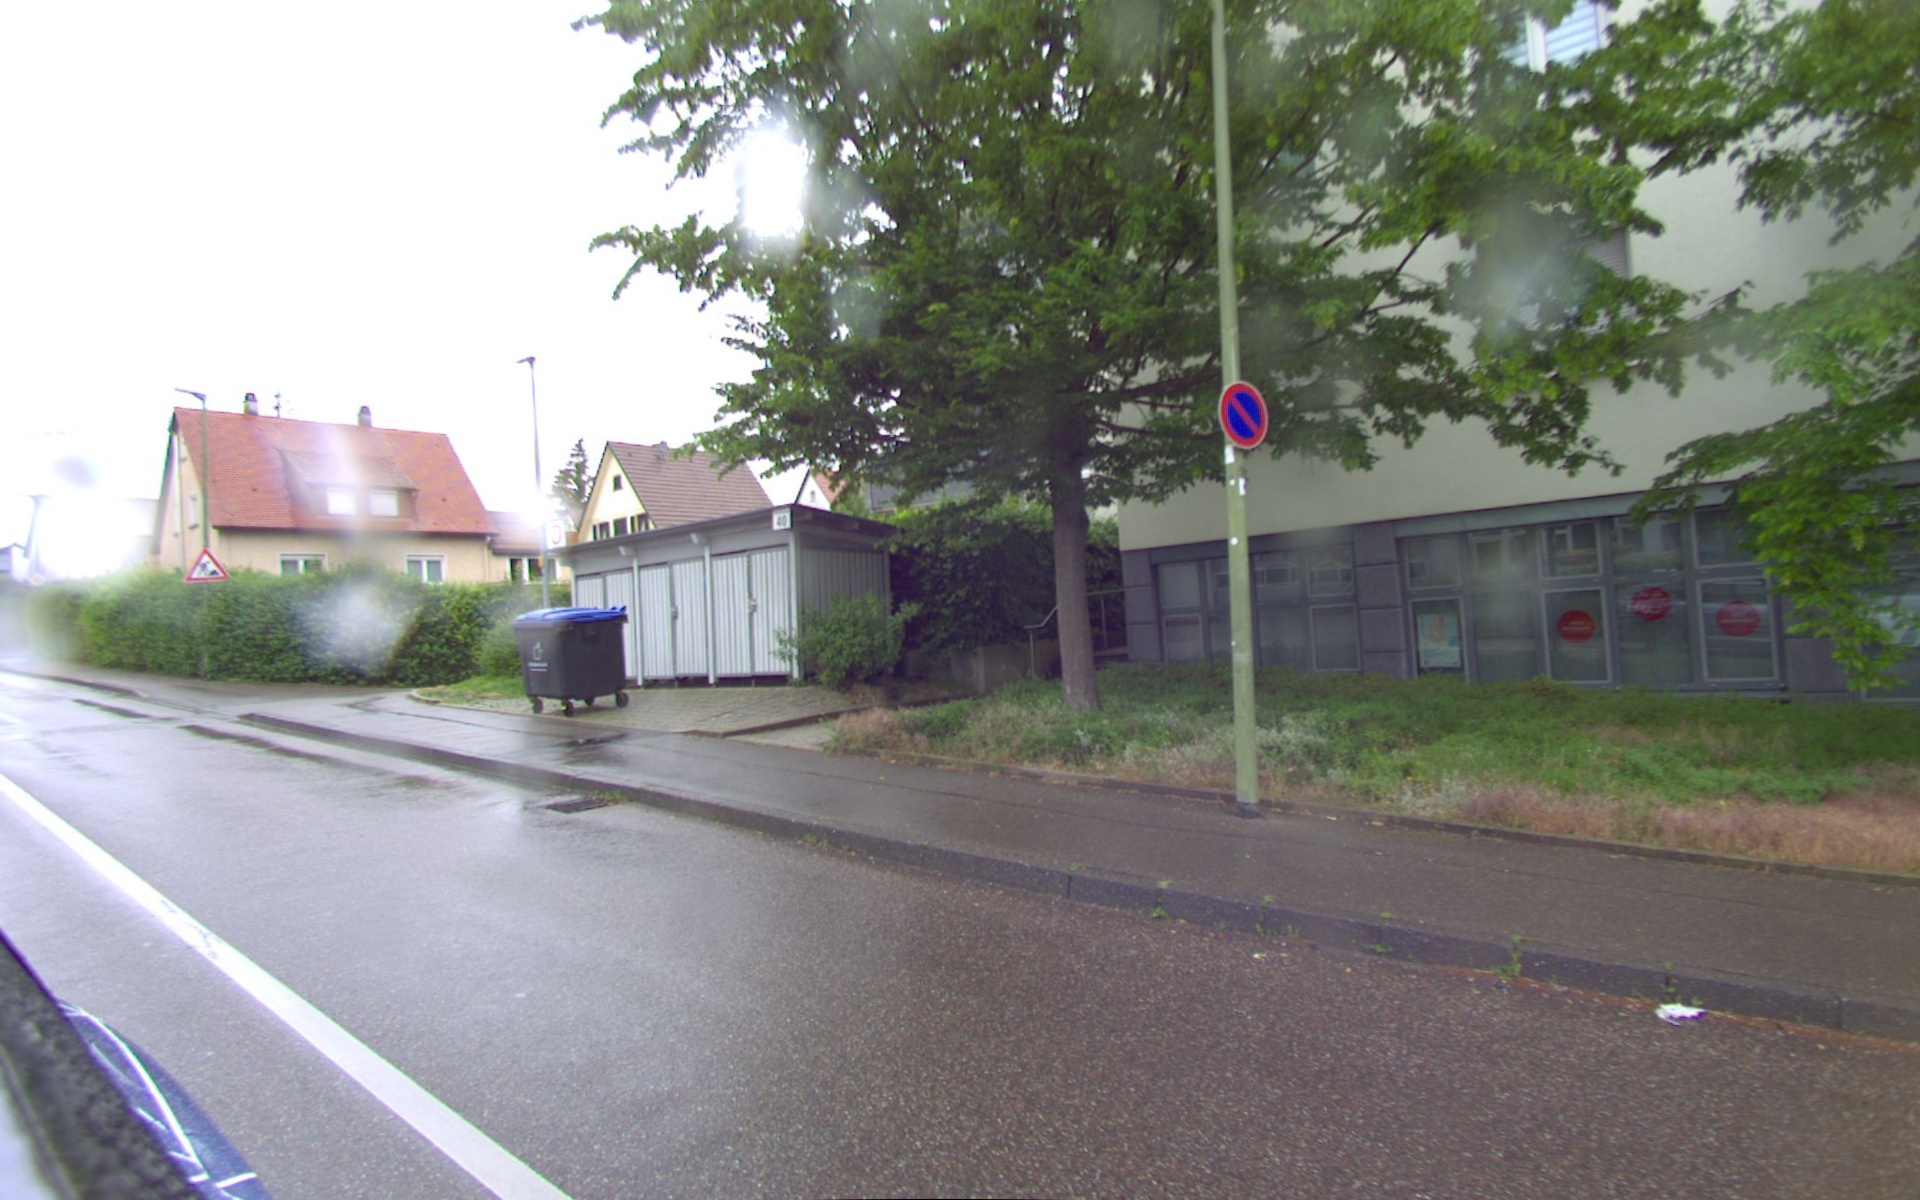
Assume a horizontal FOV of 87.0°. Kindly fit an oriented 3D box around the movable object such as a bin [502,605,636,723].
[{"bbox_3d":[-4.952,0.794,12.821,1.201,1.306,1.043,-3,3,41],"label":"movable object such as a bin"}]
